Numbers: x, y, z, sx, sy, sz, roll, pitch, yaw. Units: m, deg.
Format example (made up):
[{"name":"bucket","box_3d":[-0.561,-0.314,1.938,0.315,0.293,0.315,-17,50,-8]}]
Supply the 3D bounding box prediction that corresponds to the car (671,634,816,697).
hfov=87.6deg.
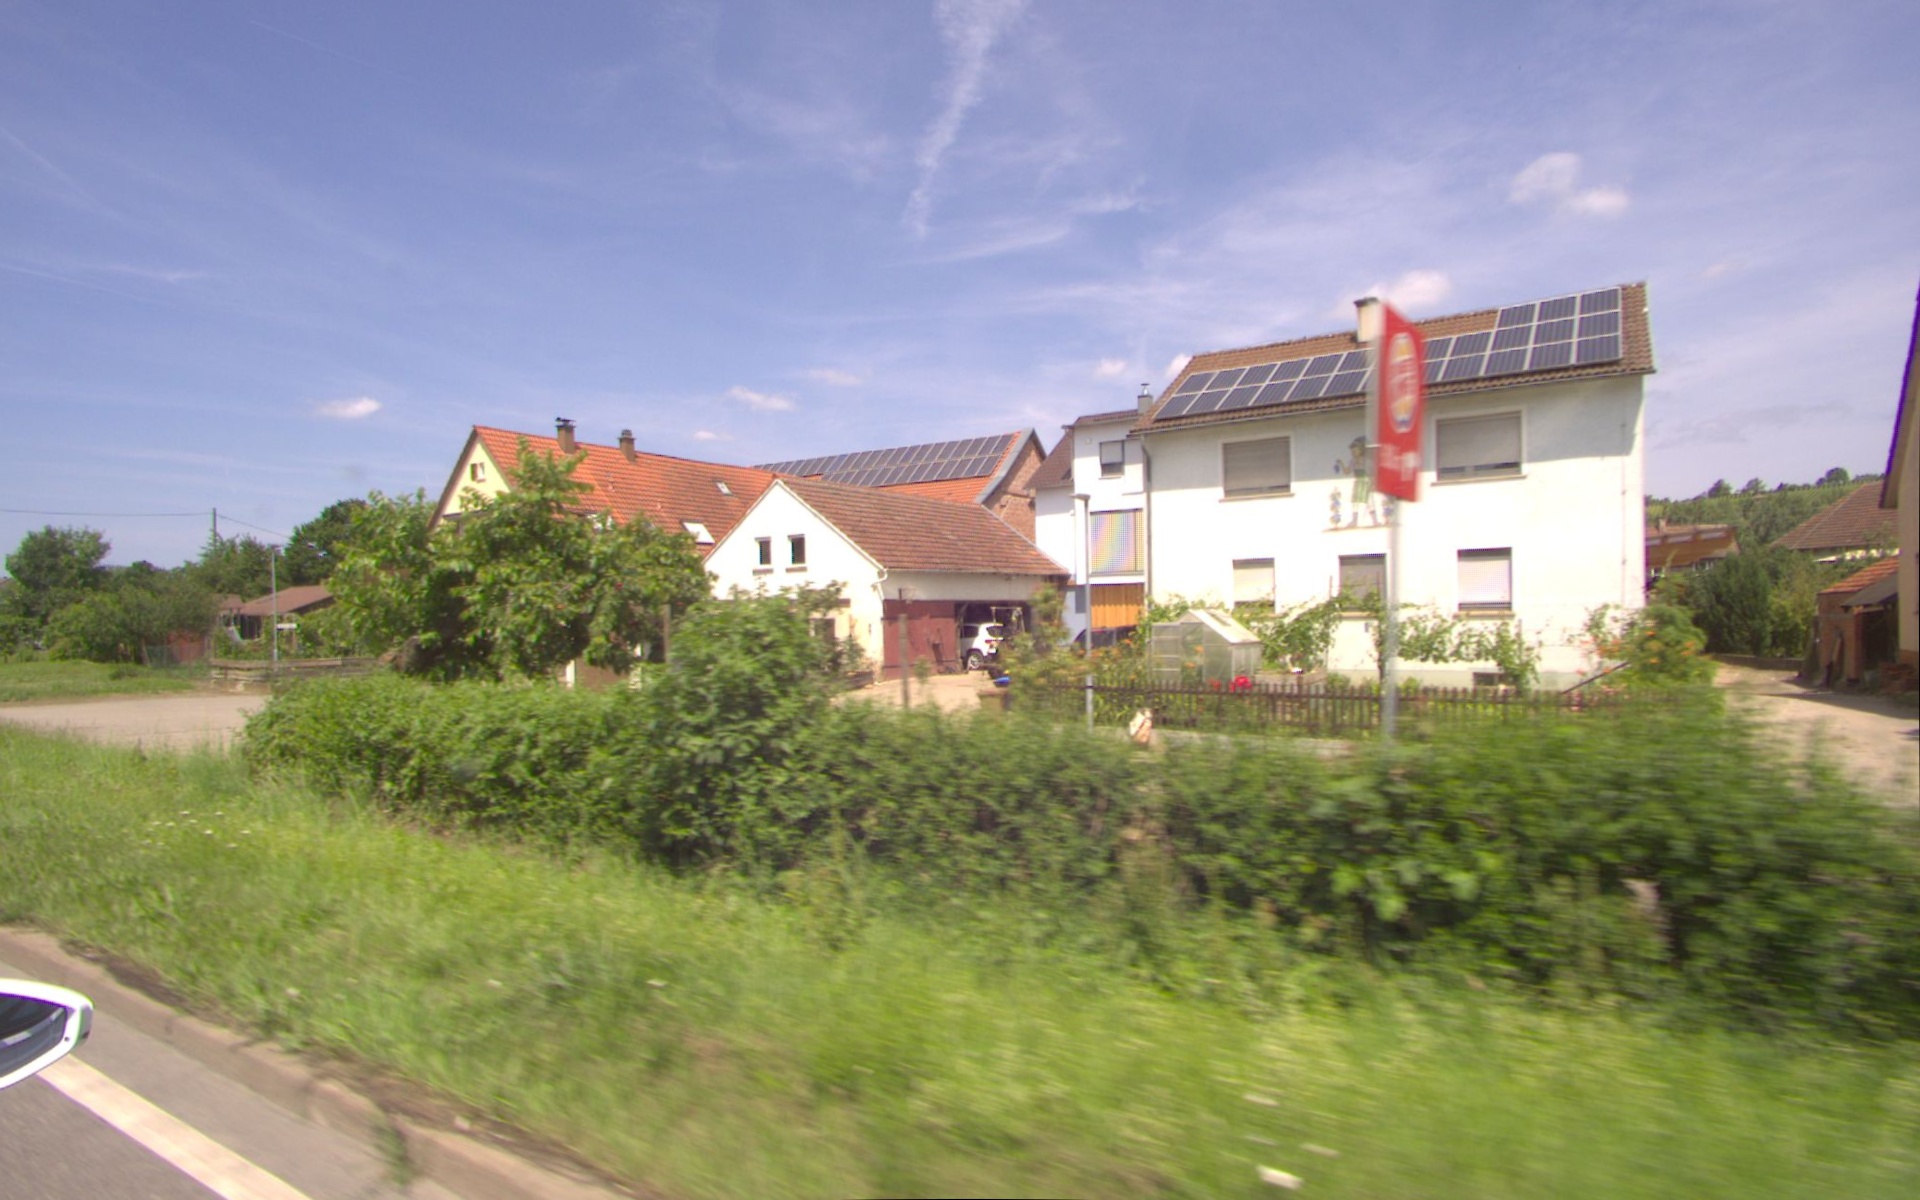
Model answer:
[{"name":"car","box_3d":[-6.179,1.843,28.945,1.809,1.598,3.977,-2,-1,34]}]

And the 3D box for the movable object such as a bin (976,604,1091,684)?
[{"name":"movable object such as a bin","box_3d":[2.399,1.324,32.076,2.052,2.375,3.697,1,1,36]}]

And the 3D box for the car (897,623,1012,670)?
[{"name":"car","box_3d":[-0.225,1.680,36.597,3.946,1.638,1.750,-2,-2,34]}]

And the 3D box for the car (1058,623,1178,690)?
[{"name":"car","box_3d":[4.583,1.554,28.659,1.820,1.715,3.936,-2,-1,35]}]

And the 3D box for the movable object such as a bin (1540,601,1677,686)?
[{"name":"movable object such as a bin","box_3d":[23.309,1.526,36.141,3.942,2.798,1.832,2,0,32]}]
